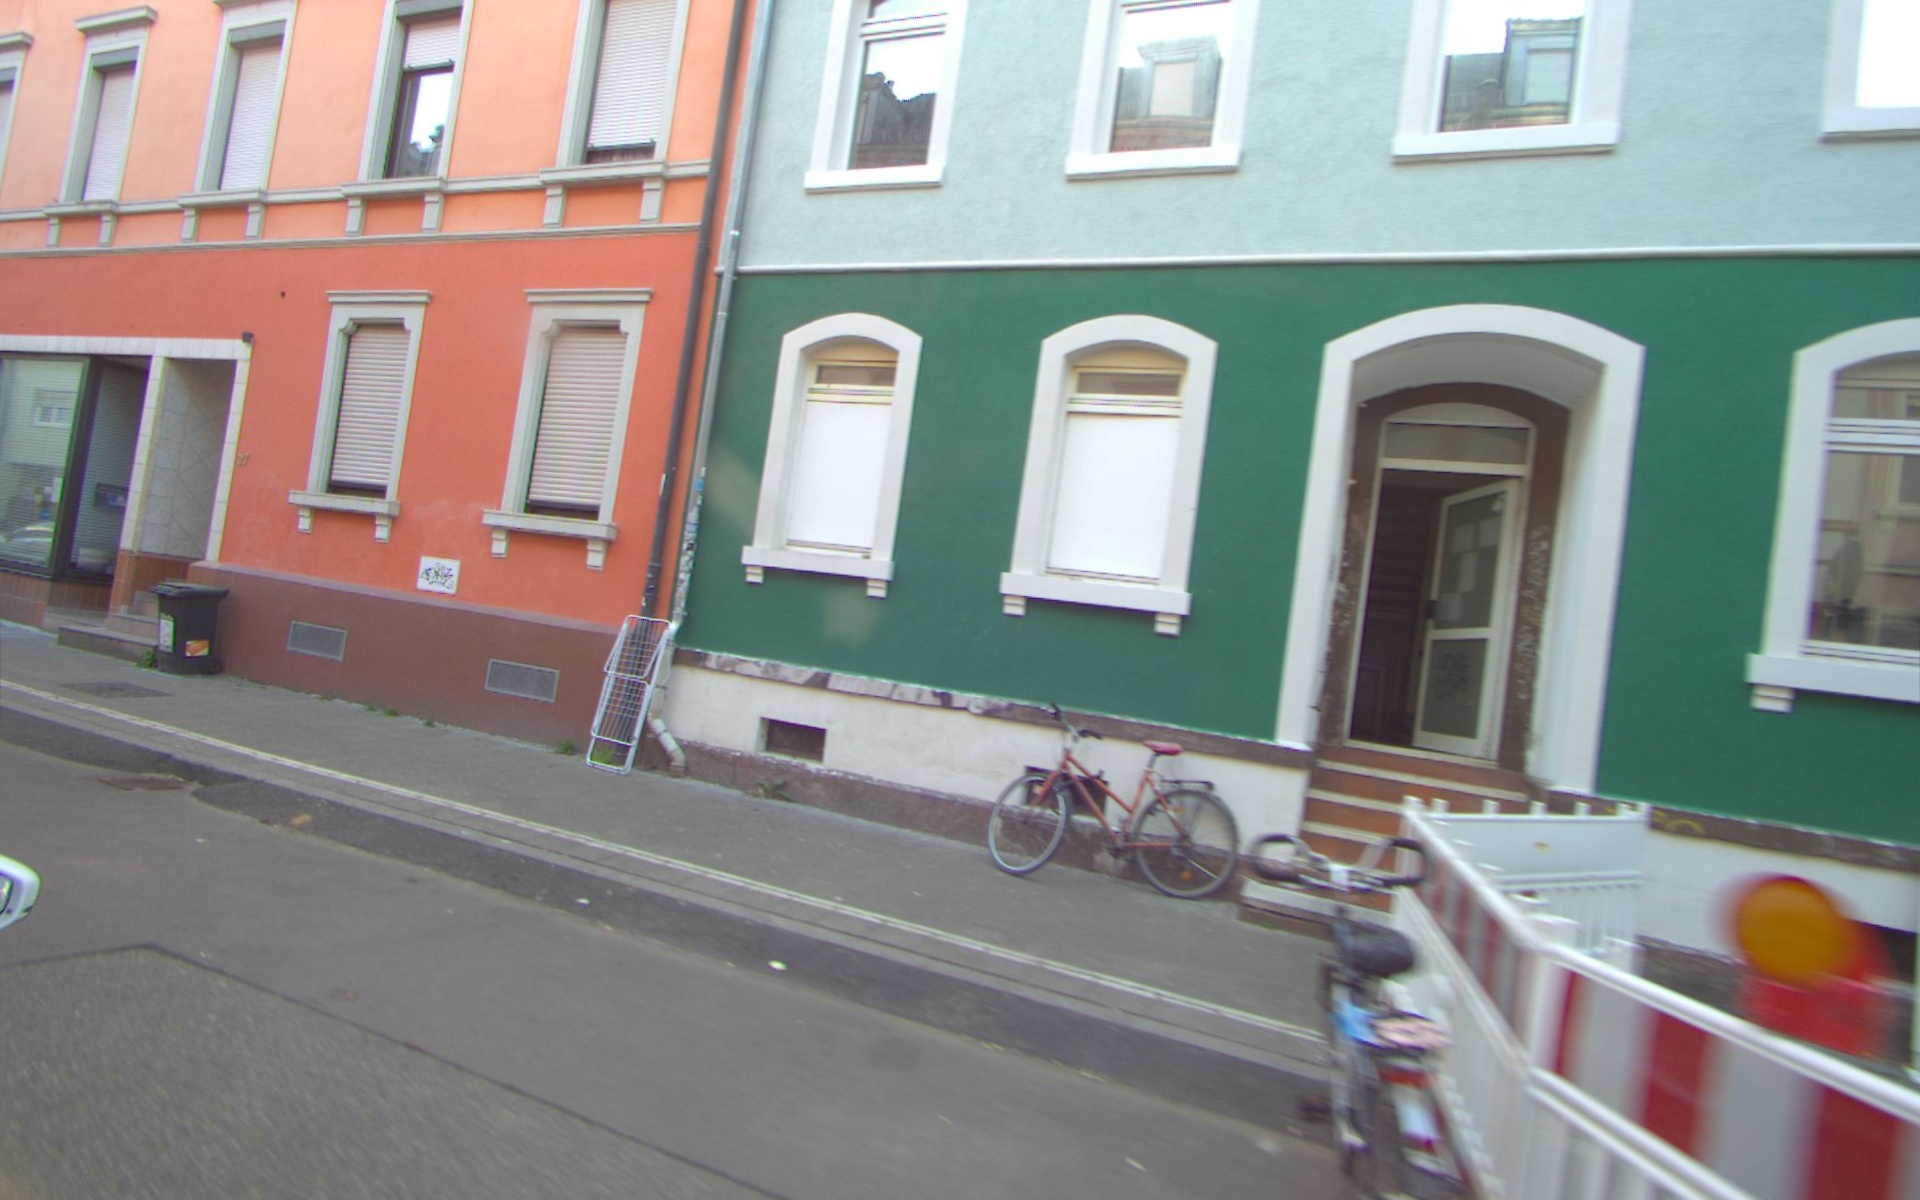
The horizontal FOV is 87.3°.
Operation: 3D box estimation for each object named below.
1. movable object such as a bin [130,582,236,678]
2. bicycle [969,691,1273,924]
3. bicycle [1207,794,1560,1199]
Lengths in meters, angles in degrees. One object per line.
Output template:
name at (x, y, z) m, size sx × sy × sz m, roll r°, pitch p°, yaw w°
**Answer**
movable object such as a bin at (-8.091, 0.317, 10.486) m, size 0.569 × 0.917 × 0.599 m, roll 7°, pitch 0°, yaw 21°
bicycle at (1.067, 1.317, 6.733) m, size 1.801 × 1.143 × 0.656 m, roll 7°, pitch 2°, yaw 23°
bicycle at (1.167, 1.283, 3.133) m, size 0.631 × 1.121 × 1.860 m, roll 7°, pitch -4°, yaw 16°
